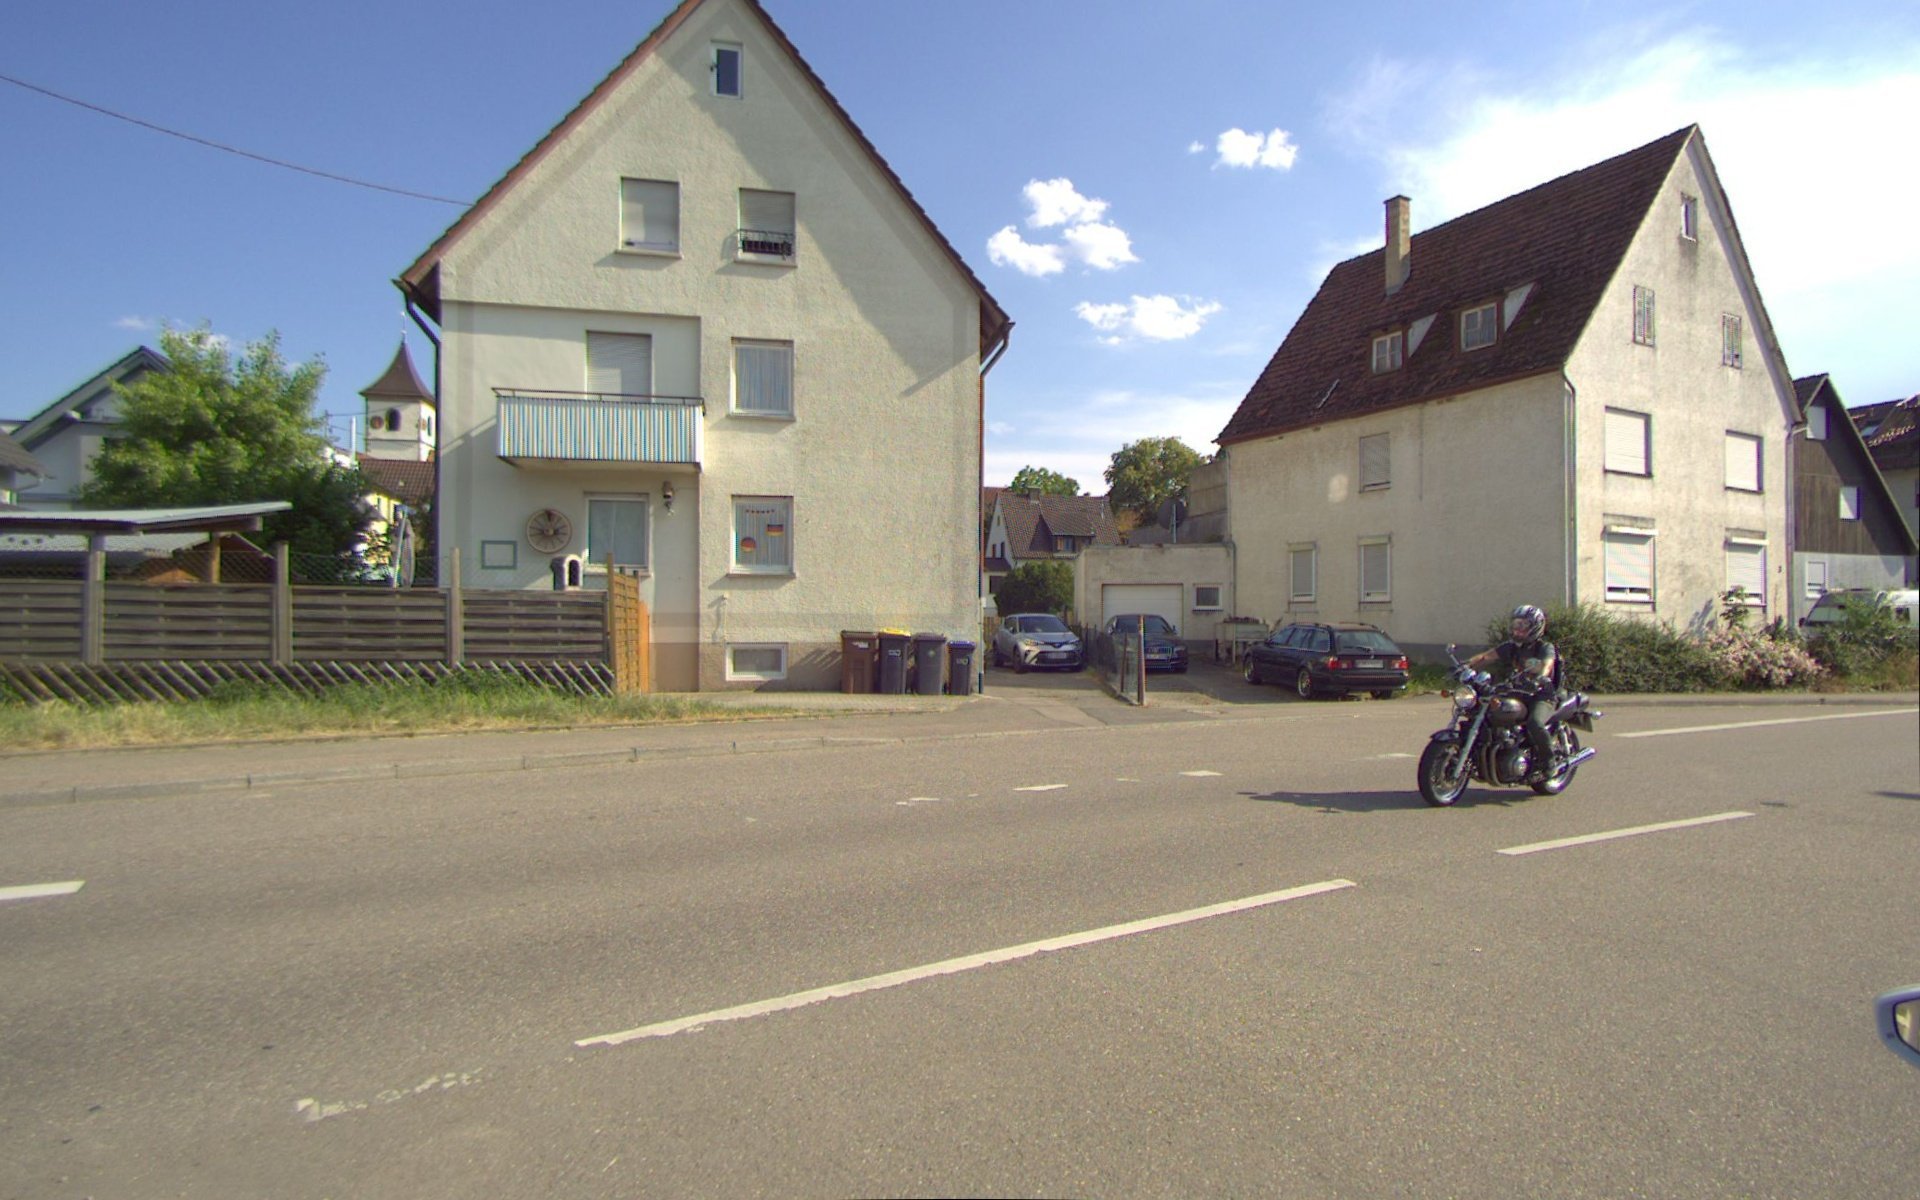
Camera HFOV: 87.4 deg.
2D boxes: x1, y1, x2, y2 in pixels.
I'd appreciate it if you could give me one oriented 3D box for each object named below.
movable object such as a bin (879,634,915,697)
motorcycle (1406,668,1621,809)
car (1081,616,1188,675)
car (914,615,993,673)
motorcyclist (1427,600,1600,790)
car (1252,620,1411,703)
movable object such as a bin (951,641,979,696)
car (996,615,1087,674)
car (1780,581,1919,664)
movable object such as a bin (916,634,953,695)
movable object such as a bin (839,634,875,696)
[{"bbox_3d":[-1.083,1.123,17.267,0.548,1.055,0.361,2,-2,-14],"label":"movable object such as a bin"},{"bbox_3d":[4.615,1.104,8.338,2.002,1.026,0.522,2,0,-27],"label":"motorcycle"},{"bbox_3d":[4.480,1.131,26.378,1.655,1.379,3.995,0,0,-8],"label":"car"},{"bbox_3d":[-0.253,1.164,27.895,1.522,1.405,3.992,0,0,-10],"label":"car"},{"bbox_3d":[4.558,0.734,8.290,1.023,1.455,0.800,1,0,-26],"label":"motorcyclist"},{"bbox_3d":[7.452,1.182,20.576,1.621,1.452,3.998,0,0,-3],"label":"car"},{"bbox_3d":[0.080,1.194,17.589,0.393,0.937,0.361,2,-2,-14],"label":"movable object such as a bin"},{"bbox_3d":[2.145,1.166,27.512,1.655,1.432,3.995,0,0,-8],"label":"car"},{"bbox_3d":[30.644,0.735,34.031,6.013,2.630,2.151,0,0,-26],"label":"car"},{"bbox_3d":[-0.442,1.122,17.455,0.567,1.036,0.361,2,-2,-14],"label":"movable object such as a bin"},{"bbox_3d":[-1.757,1.102,17.118,0.548,1.029,0.361,2,-2,-14],"label":"movable object such as a bin"}]
